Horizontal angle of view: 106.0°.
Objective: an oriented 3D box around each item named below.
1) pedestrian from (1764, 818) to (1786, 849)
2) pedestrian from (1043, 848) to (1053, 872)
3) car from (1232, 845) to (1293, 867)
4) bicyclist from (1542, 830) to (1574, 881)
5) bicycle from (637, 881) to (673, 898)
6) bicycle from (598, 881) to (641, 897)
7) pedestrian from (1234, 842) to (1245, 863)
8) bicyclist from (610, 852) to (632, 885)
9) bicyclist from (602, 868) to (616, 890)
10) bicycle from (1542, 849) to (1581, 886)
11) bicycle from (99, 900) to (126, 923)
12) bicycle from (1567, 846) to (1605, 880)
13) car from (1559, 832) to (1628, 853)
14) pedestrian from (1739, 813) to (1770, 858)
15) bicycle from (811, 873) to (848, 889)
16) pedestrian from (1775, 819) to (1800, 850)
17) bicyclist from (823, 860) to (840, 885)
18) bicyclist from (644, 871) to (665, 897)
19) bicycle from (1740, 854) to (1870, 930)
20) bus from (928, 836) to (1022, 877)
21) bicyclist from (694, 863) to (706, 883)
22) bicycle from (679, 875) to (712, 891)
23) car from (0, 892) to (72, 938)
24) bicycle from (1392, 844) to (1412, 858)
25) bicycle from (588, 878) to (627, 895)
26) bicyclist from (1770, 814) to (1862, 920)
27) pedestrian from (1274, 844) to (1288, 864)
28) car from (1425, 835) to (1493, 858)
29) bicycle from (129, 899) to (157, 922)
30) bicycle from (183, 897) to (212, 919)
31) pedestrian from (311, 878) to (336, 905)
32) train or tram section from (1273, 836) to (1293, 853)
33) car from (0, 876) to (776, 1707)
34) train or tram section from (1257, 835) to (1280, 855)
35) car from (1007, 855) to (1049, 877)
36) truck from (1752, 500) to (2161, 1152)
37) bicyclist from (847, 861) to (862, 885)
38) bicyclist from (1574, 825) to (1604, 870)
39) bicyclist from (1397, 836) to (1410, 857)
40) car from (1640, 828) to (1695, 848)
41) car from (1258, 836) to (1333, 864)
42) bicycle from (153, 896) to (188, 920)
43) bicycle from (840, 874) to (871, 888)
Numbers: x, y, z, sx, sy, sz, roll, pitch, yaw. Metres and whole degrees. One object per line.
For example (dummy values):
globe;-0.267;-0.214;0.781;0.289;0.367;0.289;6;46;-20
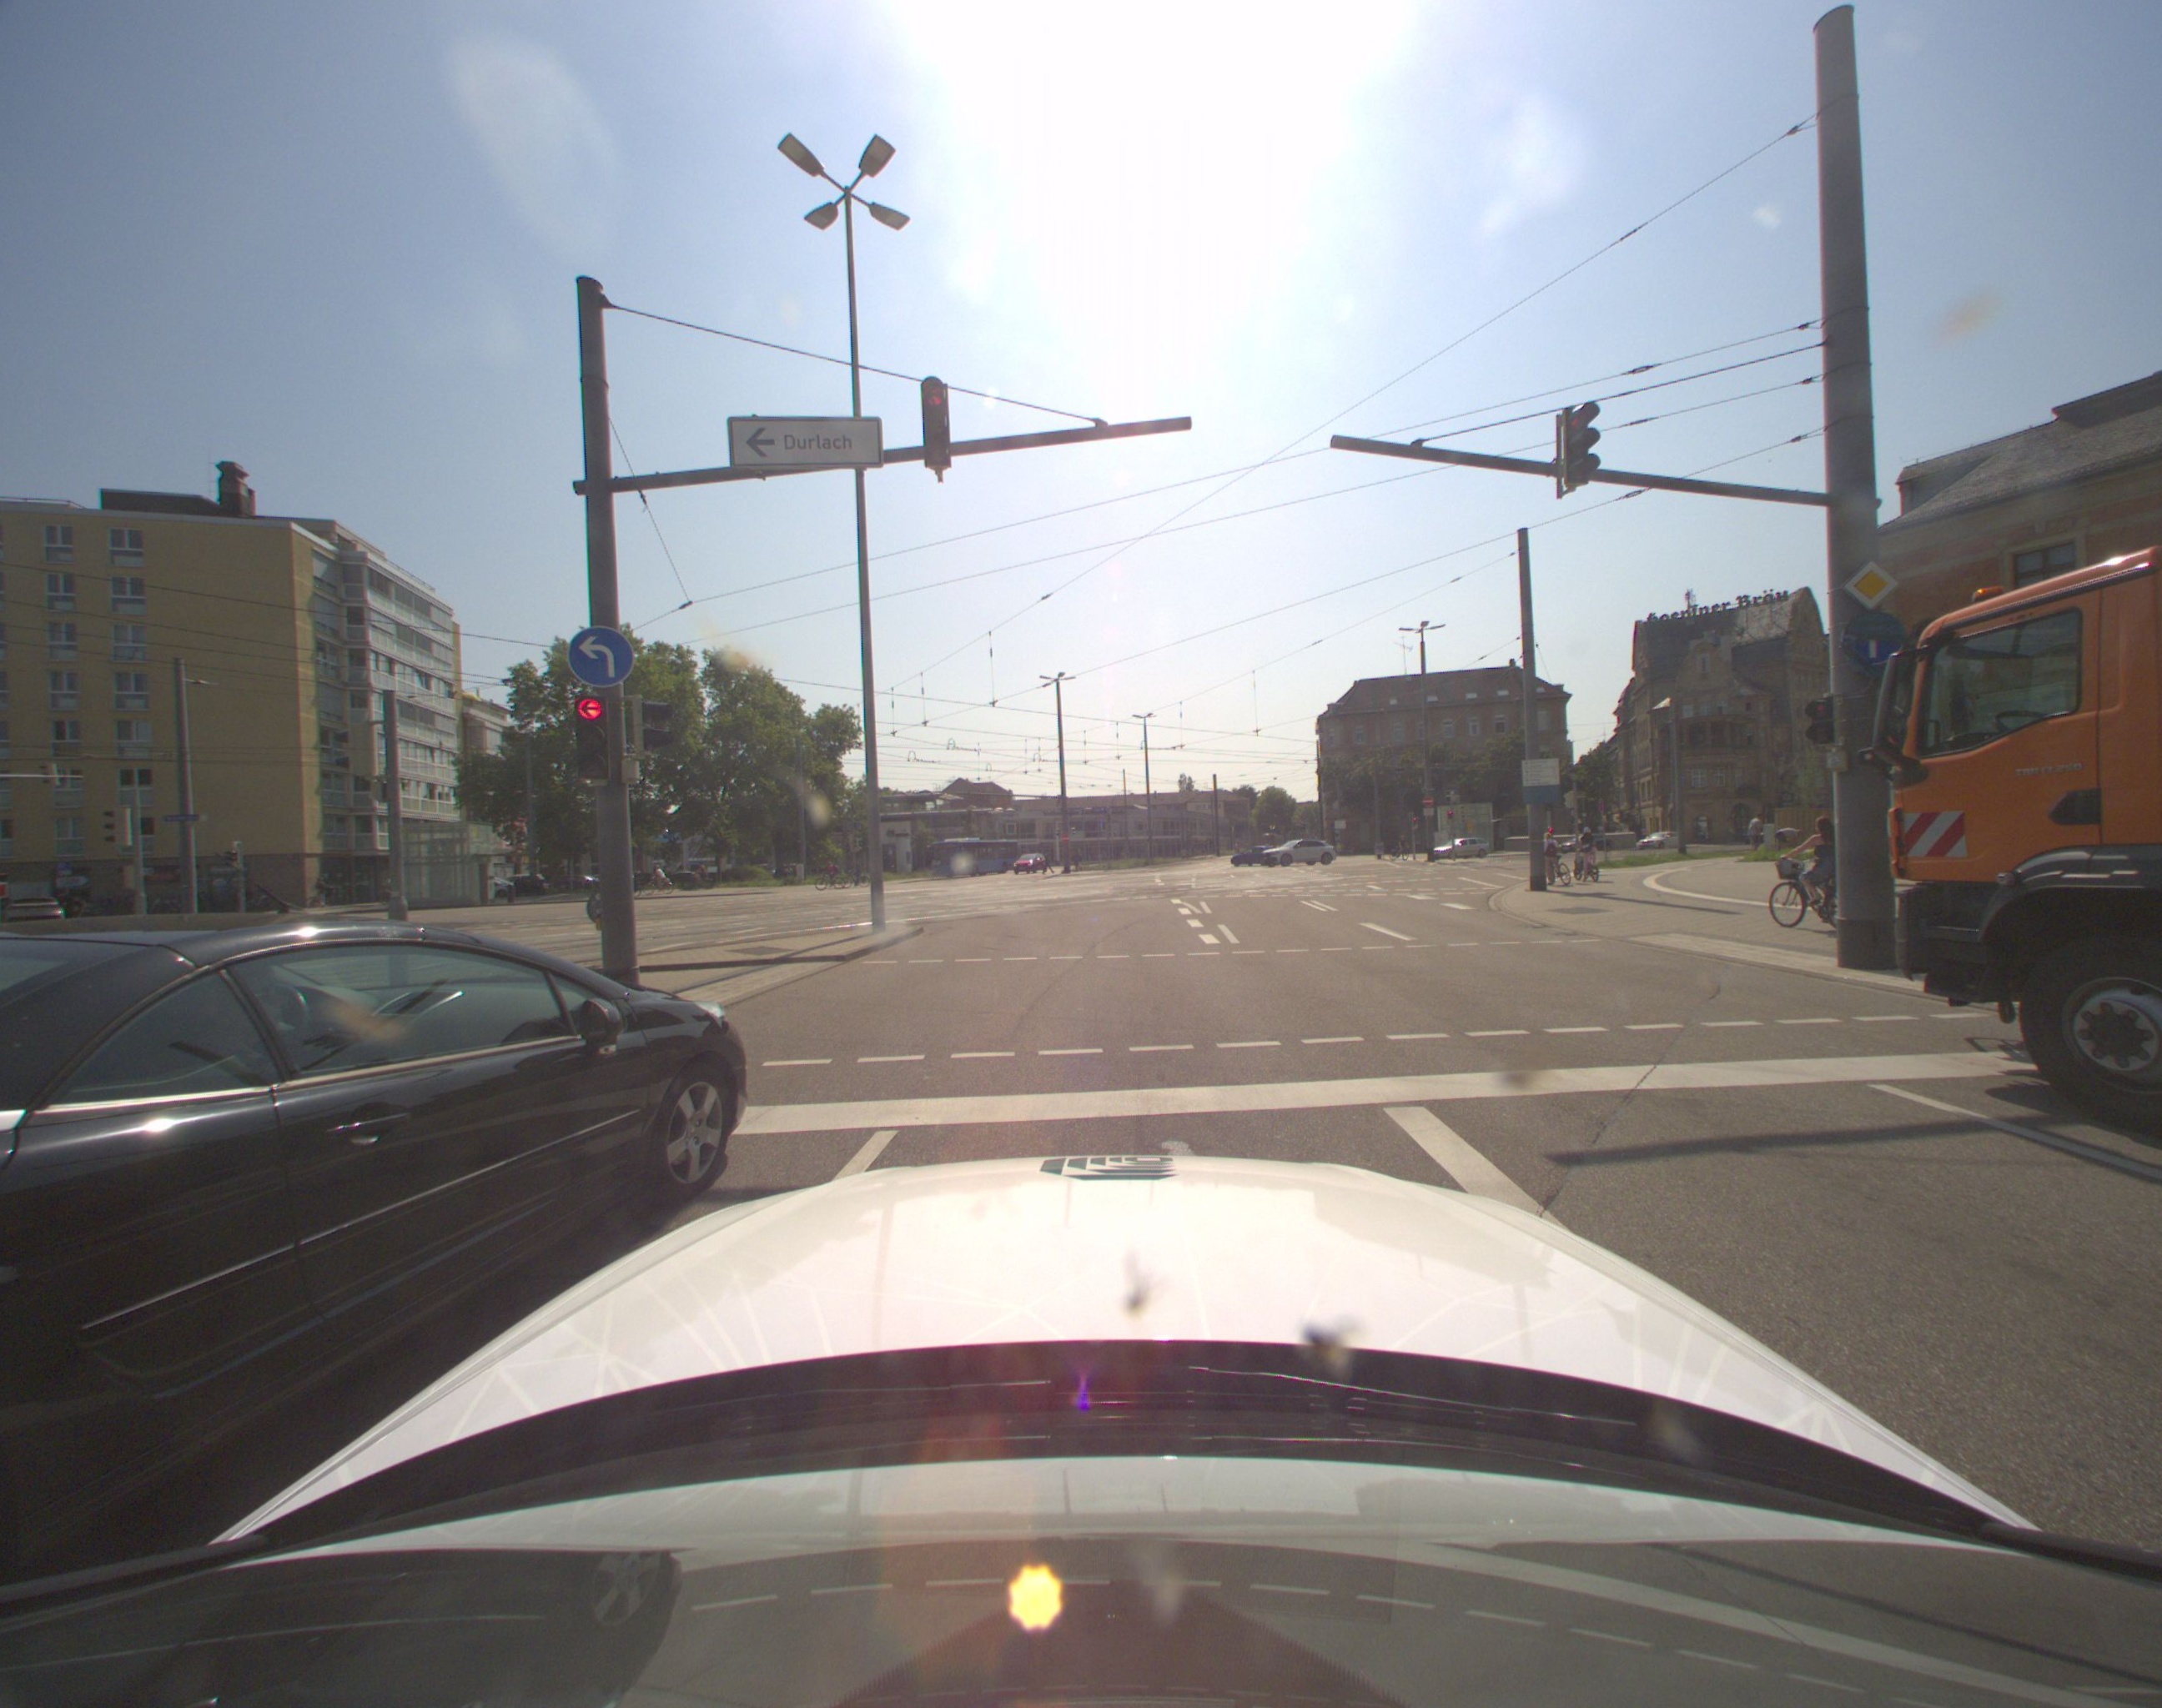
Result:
pedestrian;36.104;-1.079;42.368;0.794;1.575;0.729;-2;0;-44
pedestrian;-2.390;0.447;58.677;0.554;1.684;0.451;-2;0;-17
car;13.051;0.143;58.665;3.949;1.394;1.606;-3;0;44
bicyclist;14.526;0.050;24.809;0.623;1.517;0.714;-2;0;14
bicycle;-25.597;2.136;48.900;1.809;0.942;0.567;-2;0;-2
bicycle;-26.392;1.983;46.611;2.049;0.802;0.478;-2;0;-11
pedestrian;12.508;-0.128;64.369;0.699;1.603;0.572;-2;0;-6
bicyclist;-26.327;0.829;46.629;0.924;1.808;0.495;-2;0;-11
bicyclist;-29.405;1.553;50.697;0.544;1.293;0.557;-2;0;-10
bicycle;14.459;0.377;24.539;0.532;1.055;1.660;-2;0;14
bicycle;-52.995;3.126;44.559;2.754;1.204;0.699;-3;0;36
bicycle;16.128;0.277;26.050;0.532;1.055;1.660;-2;0;14
car;38.805;-0.864;61.663;4.766;1.415;1.765;-2;0;-18
pedestrian;26.835;-0.728;32.432;0.549;1.724;0.812;-2;0;-39
bicycle;-15.039;1.614;48.702;2.049;0.802;0.478;-2;0;-11
pedestrian;28.881;-0.788;33.308;0.658;1.214;0.531;-2;0;30
bicyclist;-14.946;1.113;48.727;0.871;1.483;0.496;-2;0;-11
bicyclist;-25.620;1.769;48.892;0.907;1.508;0.559;-2;0;-2
bicycle;10.995;0.537;12.449;0.489;1.055;1.826;-2;0;6
bus;-8.522;0.116;67.960;2.541;3.082;12.081;-3;0;19
bicyclist;-24.581;1.222;52.547;0.544;1.293;0.557;-2;0;-10
bicycle;-24.855;1.853;52.557;1.815;0.942;0.414;-2;0;-11
car;-48.505;2.775;37.816;3.949;1.925;1.815;-3;0;42
bicycle;24.079;-0.221;61.123;0.470;1.055;1.643;-2;0;-18
bicycle;-29.464;2.038;50.727;2.033;0.942;0.466;-2;0;-11
bicyclist;10.958;0.188;12.169;0.730;1.517;0.664;-2;0;6
pedestrian;15.873;-0.023;64.627;0.849;1.545;0.527;-2;0;-7
car;26.495;-0.516;57.111;4.186;1.415;1.765;-2;0;-18
bicycle;-51.807;3.099;44.960;3.220;1.204;0.699;-3;0;36
bicycle;-49.499;3.017;45.614;3.220;1.204;0.699;-3;0;36
pedestrian;-44.706;2.190;48.080;0.860;1.543;0.737;-2;0;-26
train or tram section;43.116;-2.078;173.649;2.566;3.516;13.039;-2;0;21
car;-2.695;0.829;2.527;1.757;1.388;3.787;-1;0;6
train or tram section;35.325;-1.740;153.287;2.566;3.516;10.955;-2;0;21
car;-4.177;0.932;64.724;1.735;1.552;4.020;-3;0;20
truck;6.381;-0.142;3.006;2.481;3.134;6.868;-1;0;4
bicyclist;-14.389;1.182;51.757;0.873;1.475;0.543;-2;0;-16
bicyclist;16.014;-0.200;25.683;0.526;1.393;0.897;-2;0;14
bicyclist;24.138;-0.582;60.948;0.614;1.528;0.517;-2;0;-23
car;47.817;-1.288;66.380;4.207;1.415;1.762;-2;0;-24
car;13.692;-0.242;51.978;4.334;1.618;1.744;-2;0;-18
bicycle;-50.526;2.998;45.170;3.220;1.204;0.916;-3;0;36
bicycle;-14.341;1.711;51.747;1.860;0.802;0.604;-2;0;-17
